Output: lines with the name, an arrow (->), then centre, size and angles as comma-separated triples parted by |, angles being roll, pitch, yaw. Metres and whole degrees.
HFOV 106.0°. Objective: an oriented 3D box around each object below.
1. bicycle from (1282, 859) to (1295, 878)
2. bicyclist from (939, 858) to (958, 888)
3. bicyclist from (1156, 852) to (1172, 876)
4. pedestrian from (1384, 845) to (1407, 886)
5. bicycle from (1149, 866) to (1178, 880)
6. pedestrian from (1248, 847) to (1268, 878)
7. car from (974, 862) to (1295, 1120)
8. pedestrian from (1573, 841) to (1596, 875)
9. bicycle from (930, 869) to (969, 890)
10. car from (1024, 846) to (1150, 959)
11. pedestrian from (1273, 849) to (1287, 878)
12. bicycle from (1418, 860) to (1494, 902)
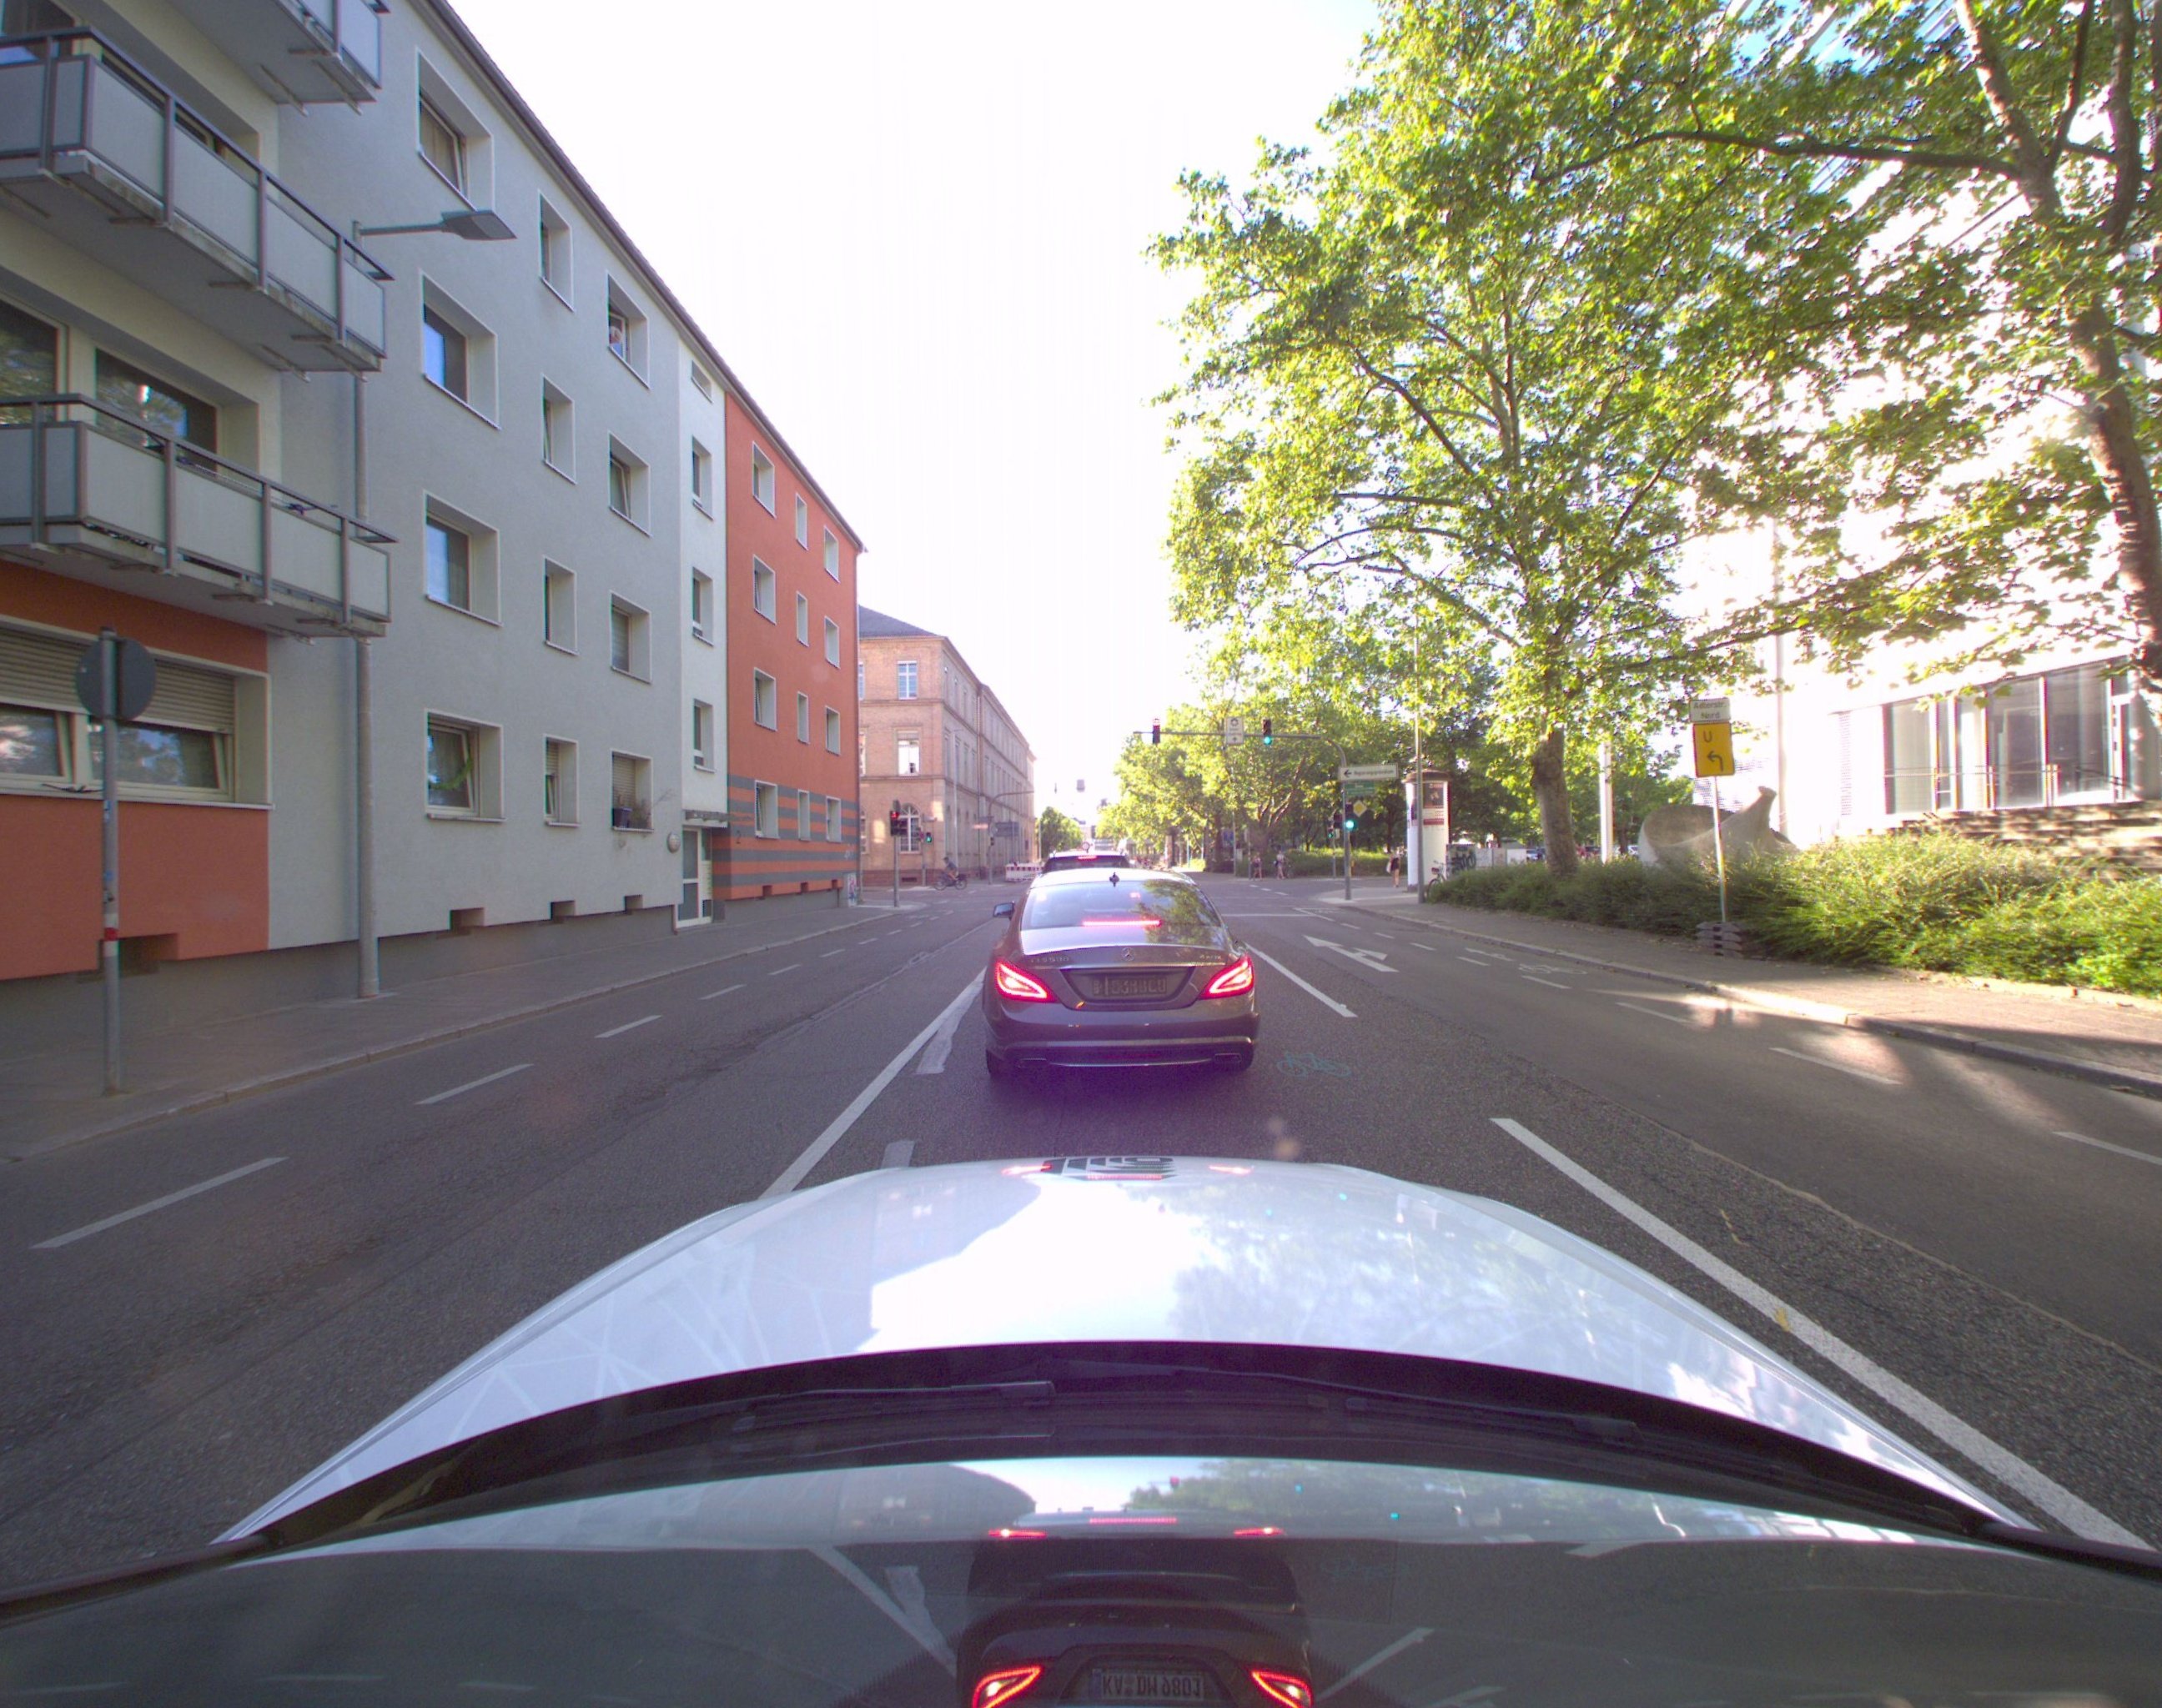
bicycle -> 12.257, 0.870, 48.111 | 0.521, 1.100, 1.745 | 0, -1, 7
bicyclist -> -6.808, 0.972, 41.812 | 0.951, 1.500, 0.819 | 0, -1, -13
bicyclist -> 5.272, 0.643, 51.896 | 0.808, 1.558, 0.644 | 0, -1, -27
pedestrian -> 12.467, 0.452, 32.324 | 0.791, 1.630, 0.912 | -1, -1, 19
bicycle -> 5.259, 1.191, 51.890 | 1.872, 0.891, 0.545 | 0, -1, -28
pedestrian -> 10.488, 0.525, 48.306 | 0.734, 1.808, 0.903 | -1, -2, -20
car -> 0.192, 0.797, 6.918 | 1.839, 1.429, 4.511 | 0, 0, -3
pedestrian -> 27.327, 0.231, 44.199 | 0.779, 1.835, 0.685 | 0, -1, -5
bicycle -> -6.771, 1.293, 41.818 | 1.958, 1.062, 0.703 | 0, -1, -13
car -> 0.205, 0.721, 13.853 | 1.801, 1.612, 4.003 | -1, -1, 3
pedestrian -> 11.790, 0.577, 48.337 | 0.680, 1.697, 0.972 | 0, -1, 5
bicycle -> 10.806, 0.770, 23.494 | 1.969, 1.190, 0.528 | 0, -1, 0
